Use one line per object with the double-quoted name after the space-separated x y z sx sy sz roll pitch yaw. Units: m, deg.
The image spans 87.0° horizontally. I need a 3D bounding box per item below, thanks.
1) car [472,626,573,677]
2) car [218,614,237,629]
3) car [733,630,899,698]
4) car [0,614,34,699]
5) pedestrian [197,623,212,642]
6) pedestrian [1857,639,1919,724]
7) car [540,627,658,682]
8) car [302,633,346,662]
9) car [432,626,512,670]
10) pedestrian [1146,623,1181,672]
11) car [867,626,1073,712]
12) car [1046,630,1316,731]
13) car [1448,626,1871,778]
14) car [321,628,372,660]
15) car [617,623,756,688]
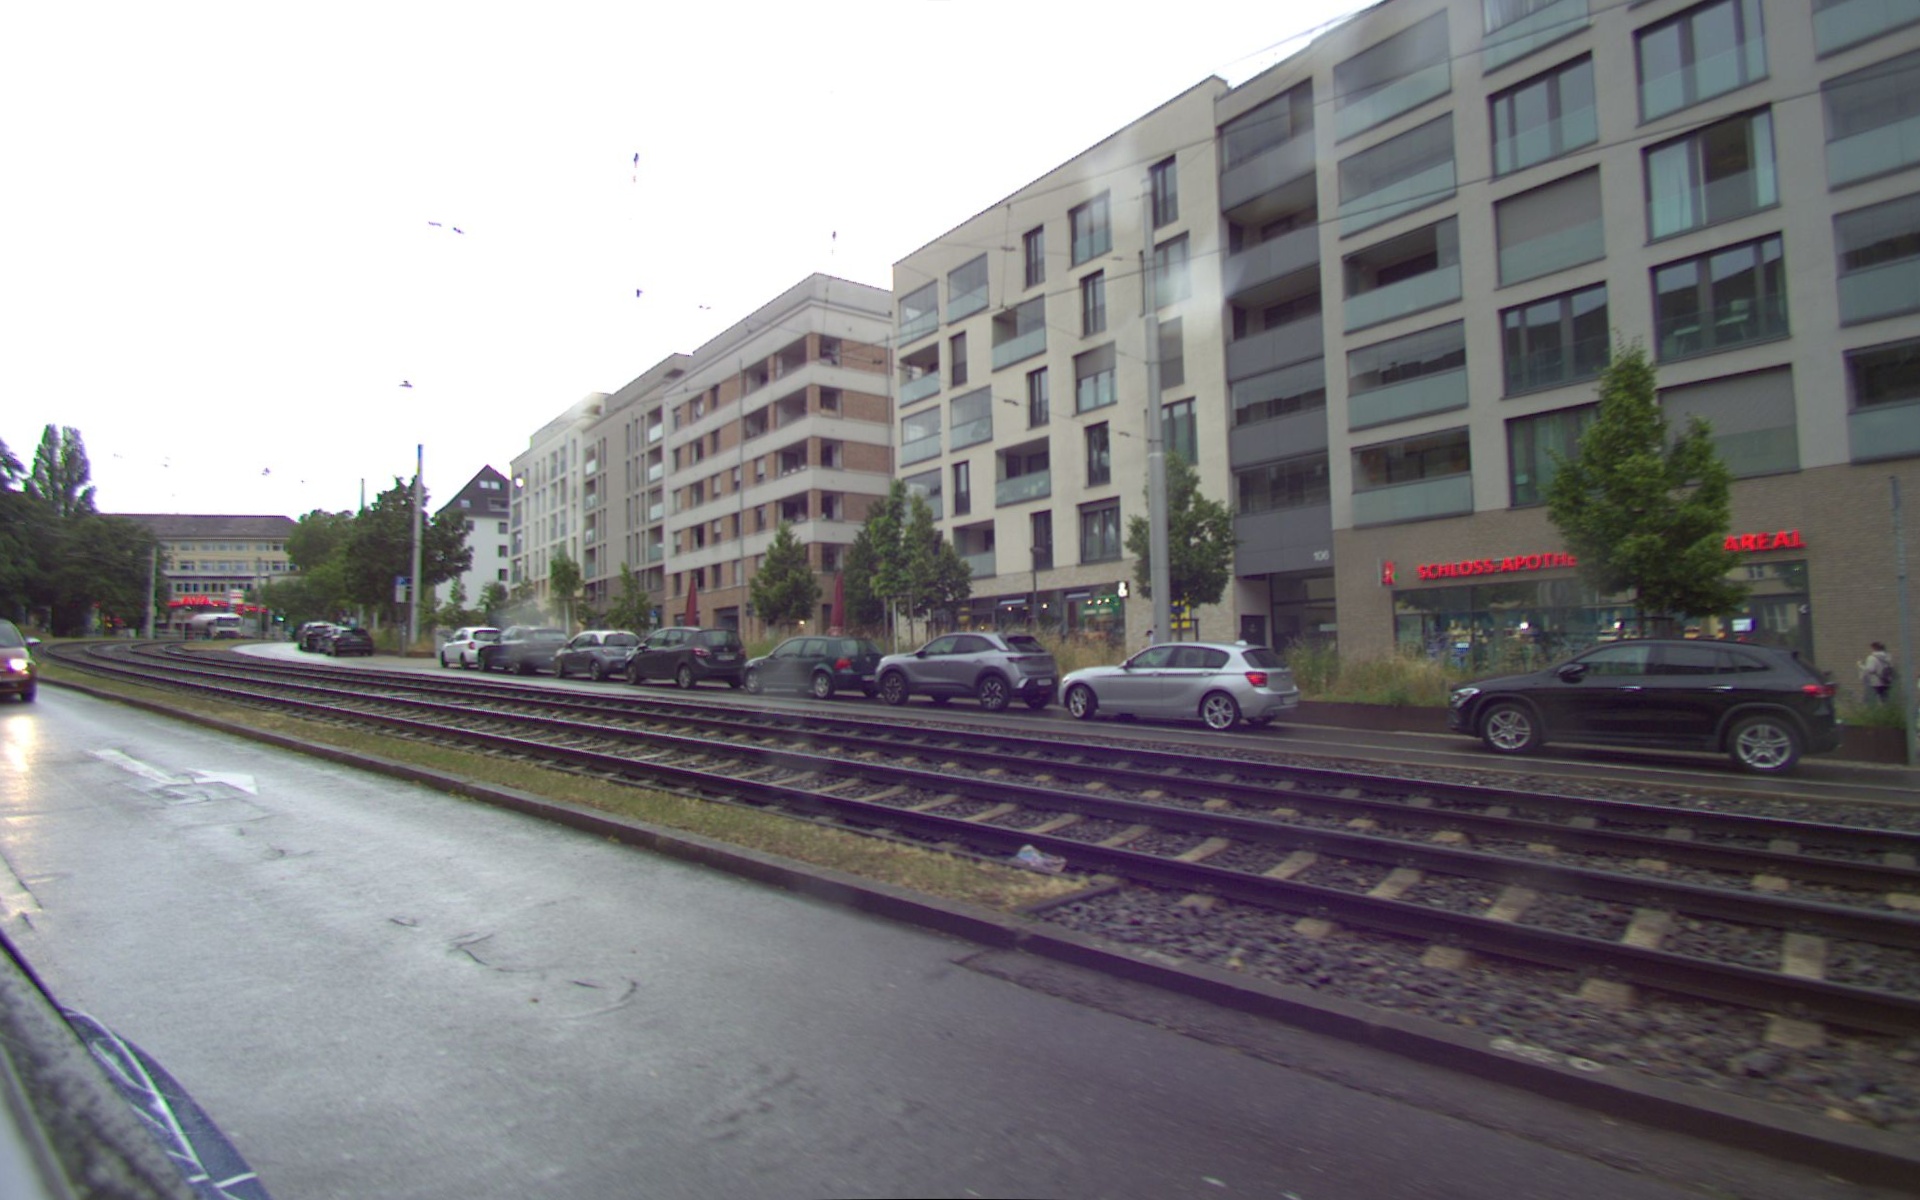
-14.693 1.666 33.850 1.660 1.516 4.408 1 -1 -44 "car"
-84.054 2.480 116.191 1.641 1.619 3.819 -1 0 -34 "car"
-3.440 1.435 23.774 4.031 1.391 1.663 -1 -1 41 "car"
-18.506 1.025 18.746 3.668 1.475 1.573 -1 0 41 "car"
-73.716 3.169 98.766 0.805 1.777 0.750 2 -4 -9 "pedestrian"
16.774 1.449 18.247 0.532 1.460 0.805 -1 0 -36 "pedestrian"
-10.964 1.591 30.655 3.926 1.516 1.663 -1 -1 41 "car"
-36.280 2.662 57.722 1.630 1.475 3.676 -1 0 -40 "car"
-18.126 1.731 37.531 1.626 1.516 3.784 0 -1 -43 "car"
6.193 1.435 30.878 0.647 1.460 0.805 -1 0 -36 "pedestrian"
0.142 1.340 20.758 4.042 1.541 1.665 -1 -1 37 "car"
3.737 1.289 17.588 4.327 1.475 1.663 -1 -1 41 "car"
8.920 1.173 13.193 4.327 1.616 1.663 -1 -1 41 "car"
-31.220 2.195 51.461 1.630 1.475 3.676 -1 0 -40 "car"
-7.331 1.422 26.950 3.926 1.575 1.663 -1 -1 41 "car"
